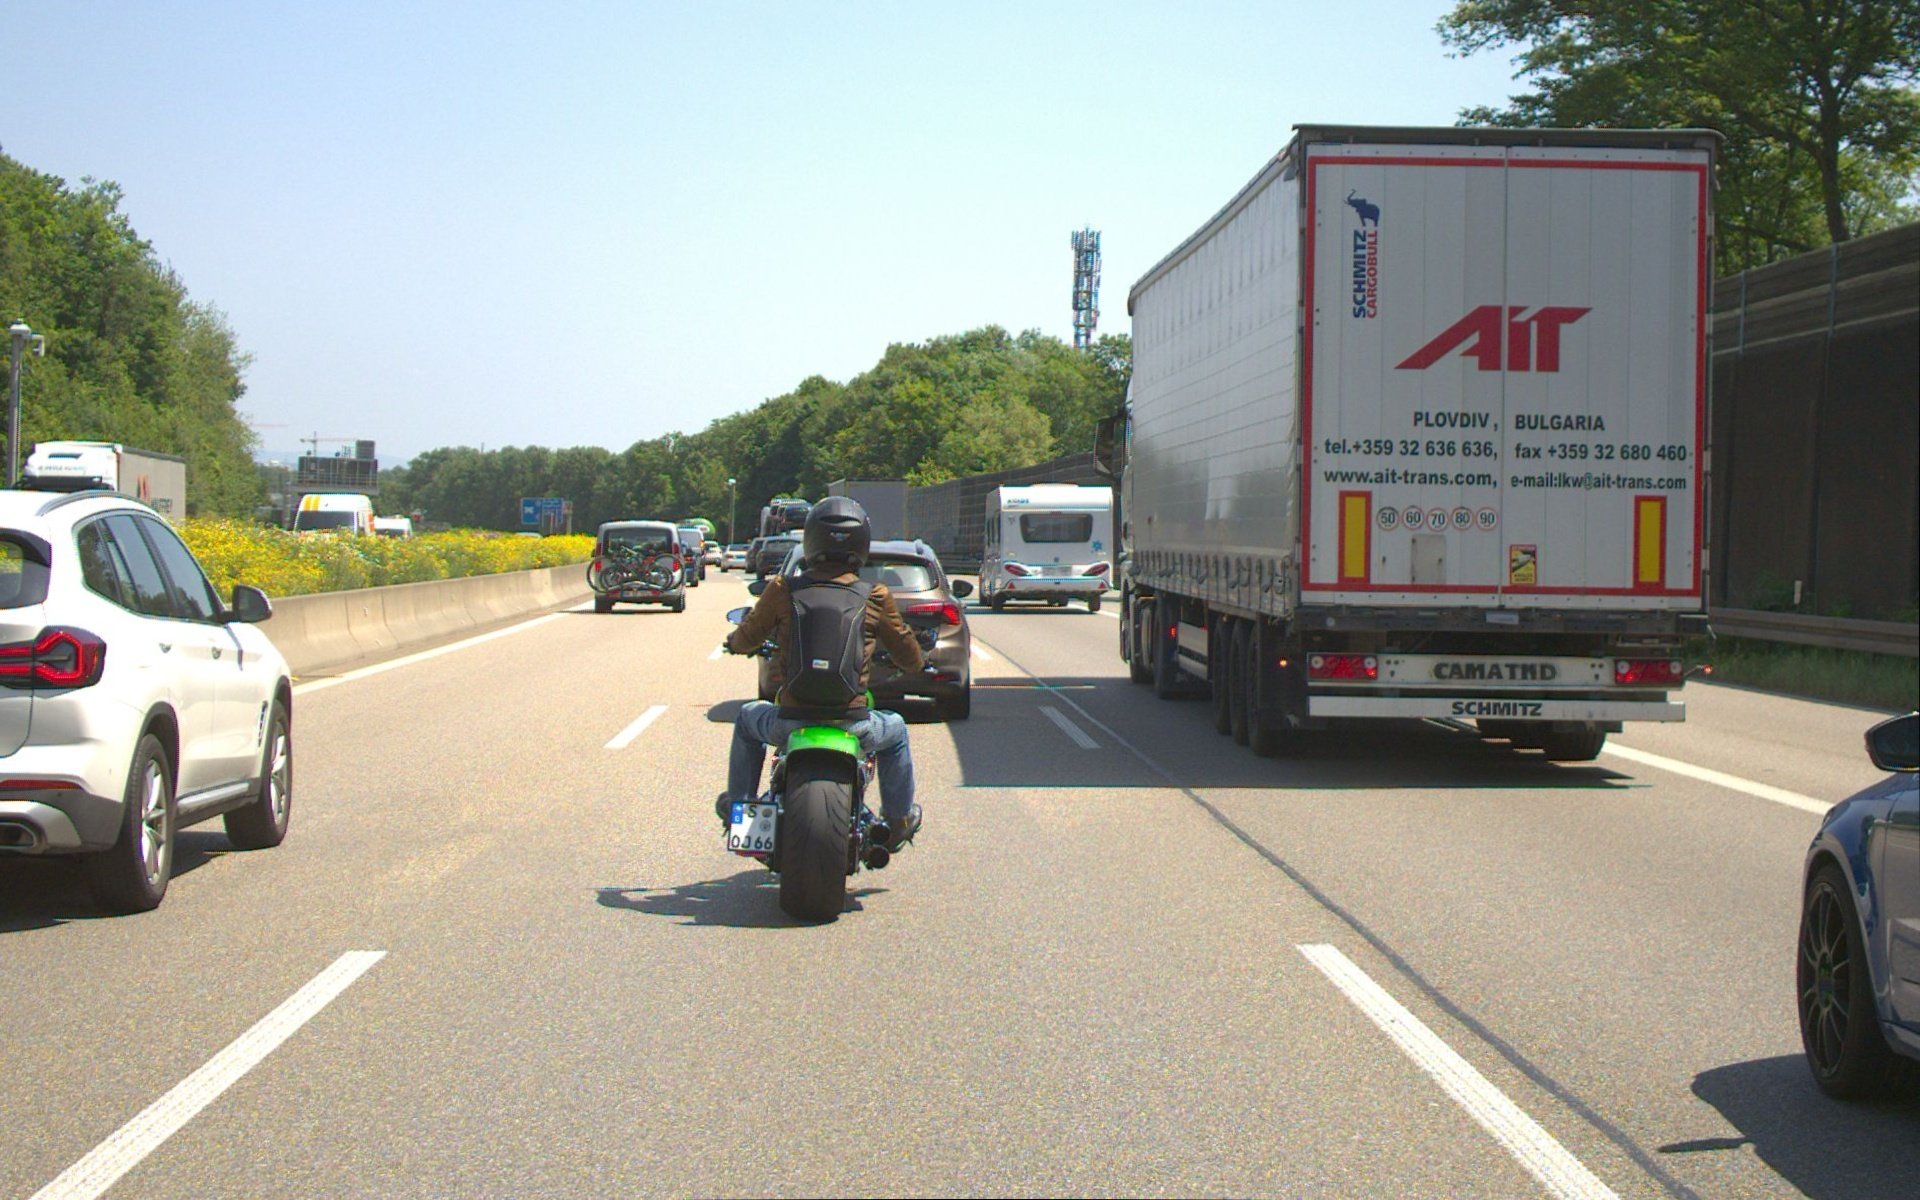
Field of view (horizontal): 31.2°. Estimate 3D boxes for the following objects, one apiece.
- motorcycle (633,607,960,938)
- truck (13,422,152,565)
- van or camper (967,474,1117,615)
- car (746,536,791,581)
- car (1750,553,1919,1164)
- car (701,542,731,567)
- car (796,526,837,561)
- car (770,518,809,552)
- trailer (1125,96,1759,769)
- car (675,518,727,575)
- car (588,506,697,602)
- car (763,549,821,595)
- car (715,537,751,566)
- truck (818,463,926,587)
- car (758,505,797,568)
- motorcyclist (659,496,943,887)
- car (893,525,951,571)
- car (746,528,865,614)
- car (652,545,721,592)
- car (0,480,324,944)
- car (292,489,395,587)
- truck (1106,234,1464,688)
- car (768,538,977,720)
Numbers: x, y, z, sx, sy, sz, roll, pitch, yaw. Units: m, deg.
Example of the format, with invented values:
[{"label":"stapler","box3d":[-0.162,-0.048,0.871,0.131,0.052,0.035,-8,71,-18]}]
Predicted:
[{"label":"motorcycle","box3d":[-0.604,0.635,14.028,0.965,1.144,2.811,1,1,5]},{"label":"truck","box3d":[-26.464,-3.153,103.937,2.963,4.093,6.089,1,0,-4]},{"label":"van or camper","box3d":[1.639,-1.099,71.890,2.685,2.803,6.803,1,0,-2]},{"label":"car","box3d":[-8.783,-1.875,157.401,1.911,2.007,3.691,1,0,-5]},{"label":"car","box3d":[3.173,0.632,7.693,1.650,1.477,4.482,1,0,-2]},{"label":"car","box3d":[-15.647,-2.912,220.046,1.832,1.491,3.744,1,0,-5]},{"label":"car","box3d":[-8.140,-3.202,194.248,2.107,1.870,4.001,1,0,-5]},{"label":"car","box3d":[-9.911,-3.769,199.673,2.107,1.870,4.001,1,0,-5]},{"label":"trailer","box3d":[3.240,-1.119,27.631,2.885,4.025,13.796,1,1,-1]},{"label":"car","box3d":[-9.549,-1.952,126.772,1.791,2.007,3.642,1,0,-3]},{"label":"car","box3d":[-6.369,-0.897,69.333,1.899,1.867,4.413,1,0,-2]},{"label":"car","box3d":[-6.174,-1.022,126.668,1.993,1.634,4.000,1,0,-1]},{"label":"car","box3d":[-11.990,-2.555,181.285,1.832,1.491,3.744,1,0,-5]},{"label":"truck","box3d":[-3.744,-3.066,143.695,3.802,4.943,8.952,1,0,-6]},{"label":"car","box3d":[-11.325,-3.945,213.223,2.133,3.848,8.144,1,1,-5]},{"label":"motorcyclist","box3d":[-0.608,0.346,13.921,0.900,1.470,1.871,0,0,5]},{"label":"car","box3d":[-1.393,-1.869,124.839,1.993,1.568,4.000,1,0,-2]},{"label":"car","box3d":[-2.695,-0.489,60.089,1.993,1.425,3.847,1,0,-2]},{"label":"car","box3d":[-8.427,-0.947,106.031,1.993,1.382,4.000,1,0,-3]},{"label":"car","box3d":[-4.108,0.367,14.990,1.864,1.688,4.956,0,1,-1]},{"label":"car","box3d":[-18.843,-1.896,105.384,2.068,2.886,7.463,0,1,-2]},{"label":"truck","box3d":[3.101,-1.318,34.466,2.885,4.132,5.986,1,1,-1]},{"label":"car","box3d":[-0.746,0.235,29.430,1.662,1.448,3.869,1,0,-1]}]
